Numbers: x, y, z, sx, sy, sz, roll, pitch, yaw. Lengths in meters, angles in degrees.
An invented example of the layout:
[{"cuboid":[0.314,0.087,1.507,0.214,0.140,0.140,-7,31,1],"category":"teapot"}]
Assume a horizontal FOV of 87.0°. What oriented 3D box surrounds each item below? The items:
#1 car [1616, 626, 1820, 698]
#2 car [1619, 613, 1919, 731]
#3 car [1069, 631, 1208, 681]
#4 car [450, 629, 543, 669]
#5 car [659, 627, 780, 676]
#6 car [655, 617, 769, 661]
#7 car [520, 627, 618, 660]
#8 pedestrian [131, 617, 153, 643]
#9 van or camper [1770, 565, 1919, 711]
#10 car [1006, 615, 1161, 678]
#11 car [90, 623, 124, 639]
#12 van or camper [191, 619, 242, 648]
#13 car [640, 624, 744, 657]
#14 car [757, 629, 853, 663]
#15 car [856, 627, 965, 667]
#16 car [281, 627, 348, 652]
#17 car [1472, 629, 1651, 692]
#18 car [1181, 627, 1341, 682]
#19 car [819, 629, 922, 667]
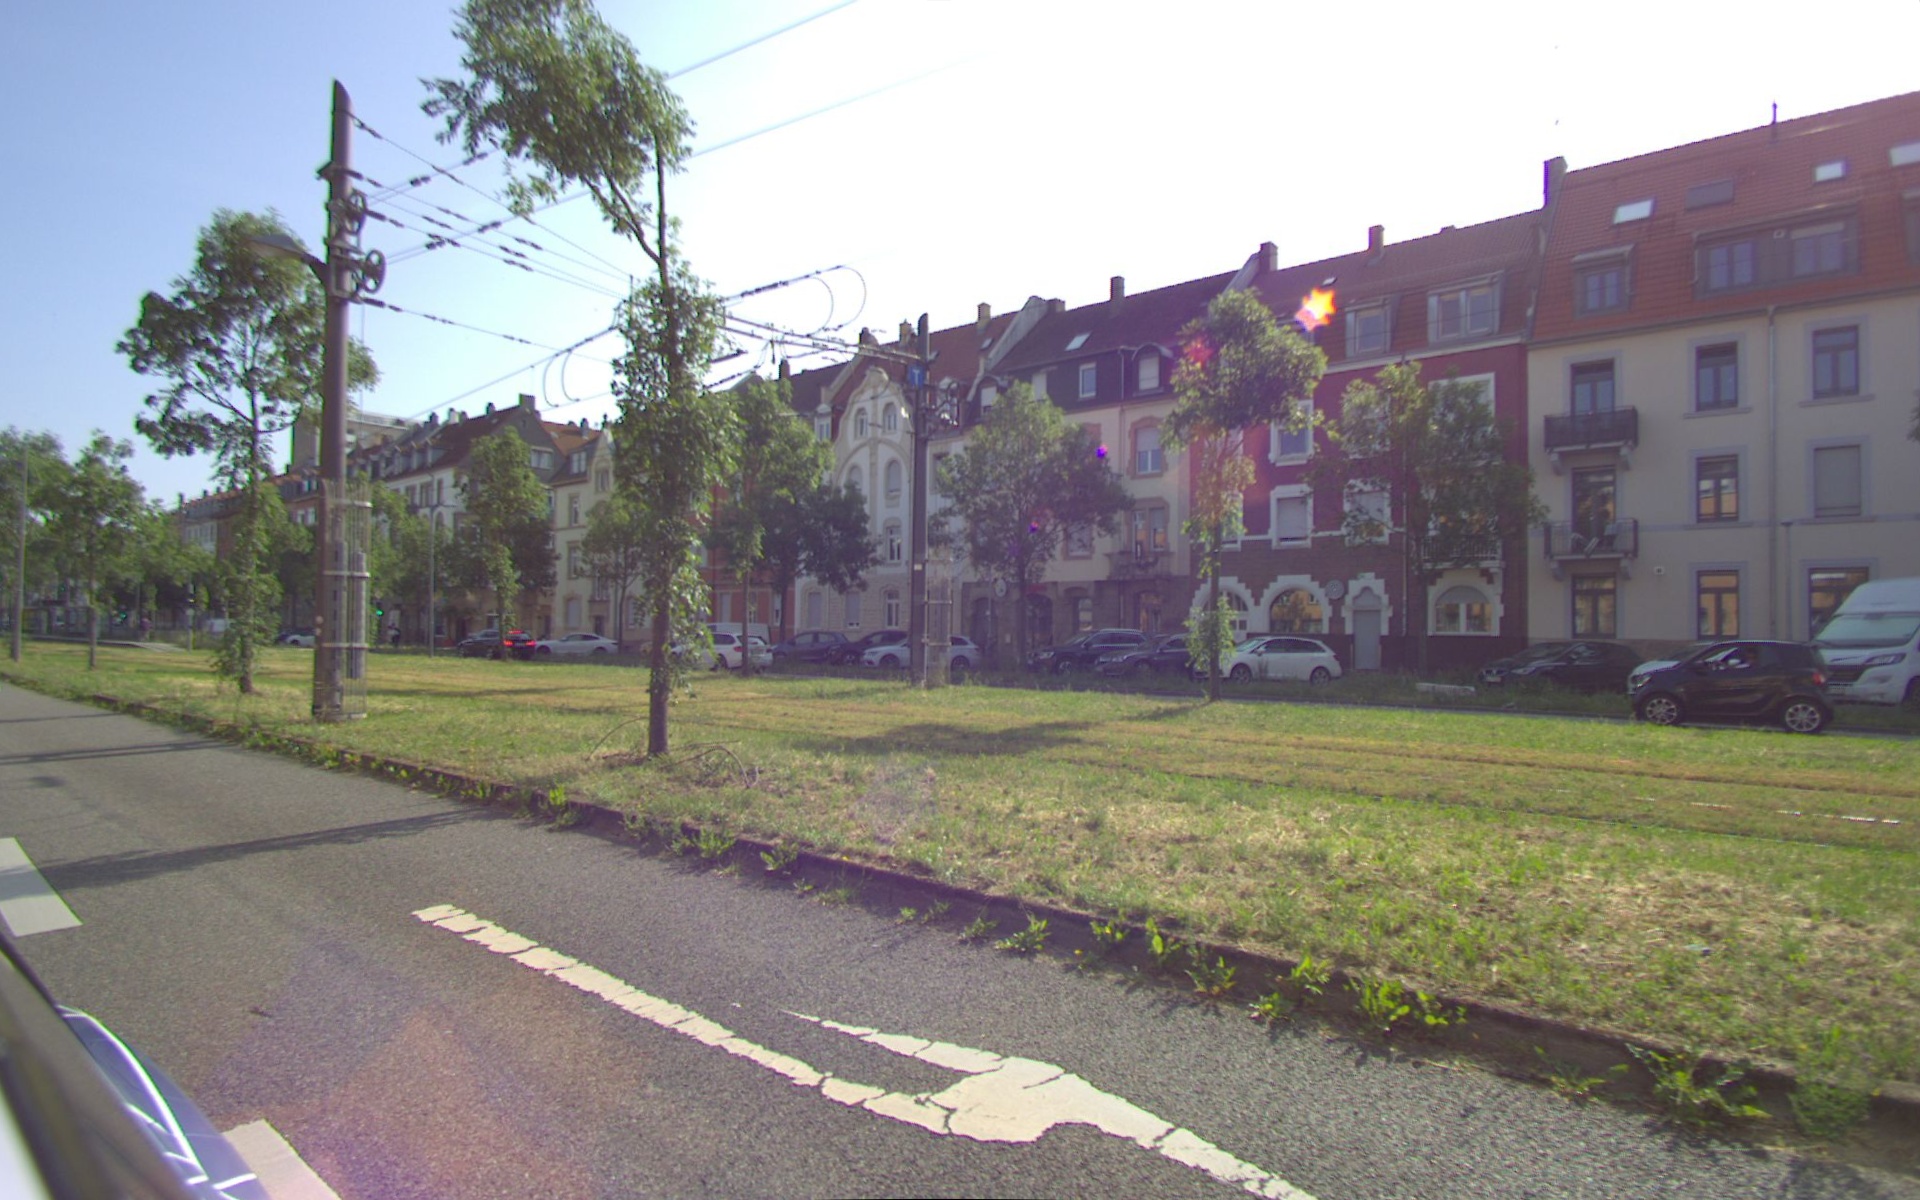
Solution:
[{"cuboid":[16.522,1.305,22.105,3.624,1.341,1.667,-1,1,-15],"category":"car"},{"cuboid":[13.449,1.086,16.776,4.000,1.668,1.745,0,1,42],"category":"car"},{"cuboid":[5.178,1.603,29.532,3.626,1.251,1.666,-1,1,-12],"category":"car"},{"cuboid":[-21.848,2.242,47.573,5.378,1.642,1.973,0,1,42],"category":"car"},{"cuboid":[-8.630,1.785,36.078,4.648,1.470,1.927,0,1,42],"category":"car"},{"cuboid":[-11.119,1.714,45.440,4.868,1.739,1.862,-1,1,-15],"category":"car"},{"cuboid":[-20.671,2.290,53.726,4.696,1.496,2.029,-1,1,-18],"category":"car"},{"cuboid":[-53.154,1.949,65.777,0.851,1.667,0.876,0,-2,36],"category":"pedestrian"},{"cuboid":[19.258,0.629,19.858,5.826,2.593,2.206,-1,1,-15],"category":"van or camper"},{"cuboid":[3.939,1.409,32.174,4.568,1.756,1.840,-1,1,-25],"category":"car"},{"cuboid":[-83.893,3.040,99.545,4.573,1.544,1.816,0,-1,40],"category":"car"},{"cuboid":[-57.503,2.566,78.229,5.348,2.113,1.932,0,1,40],"category":"van or camper"},{"cuboid":[-12.531,1.873,47.452,4.621,1.358,1.862,-1,1,-15],"category":"car"},{"cuboid":[-6.282,1.856,40.910,3.624,1.251,1.530,-1,-2,-16],"category":"car"},{"cuboid":[-1.792,1.677,36.352,3.624,1.251,1.667,-1,1,-15],"category":"car"},{"cuboid":[-49.879,3.025,78.255,3.932,1.739,2.006,-1,1,-15],"category":"car"},{"cuboid":[14.264,1.394,24.034,3.624,1.251,1.667,-1,1,-18],"category":"car"},{"cuboid":[8.314,1.471,27.998,3.946,1.326,1.667,-1,1,-16],"category":"car"},{"cuboid":[-3.425,1.807,38.550,3.624,1.251,1.667,-1,1,-16],"category":"car"}]
